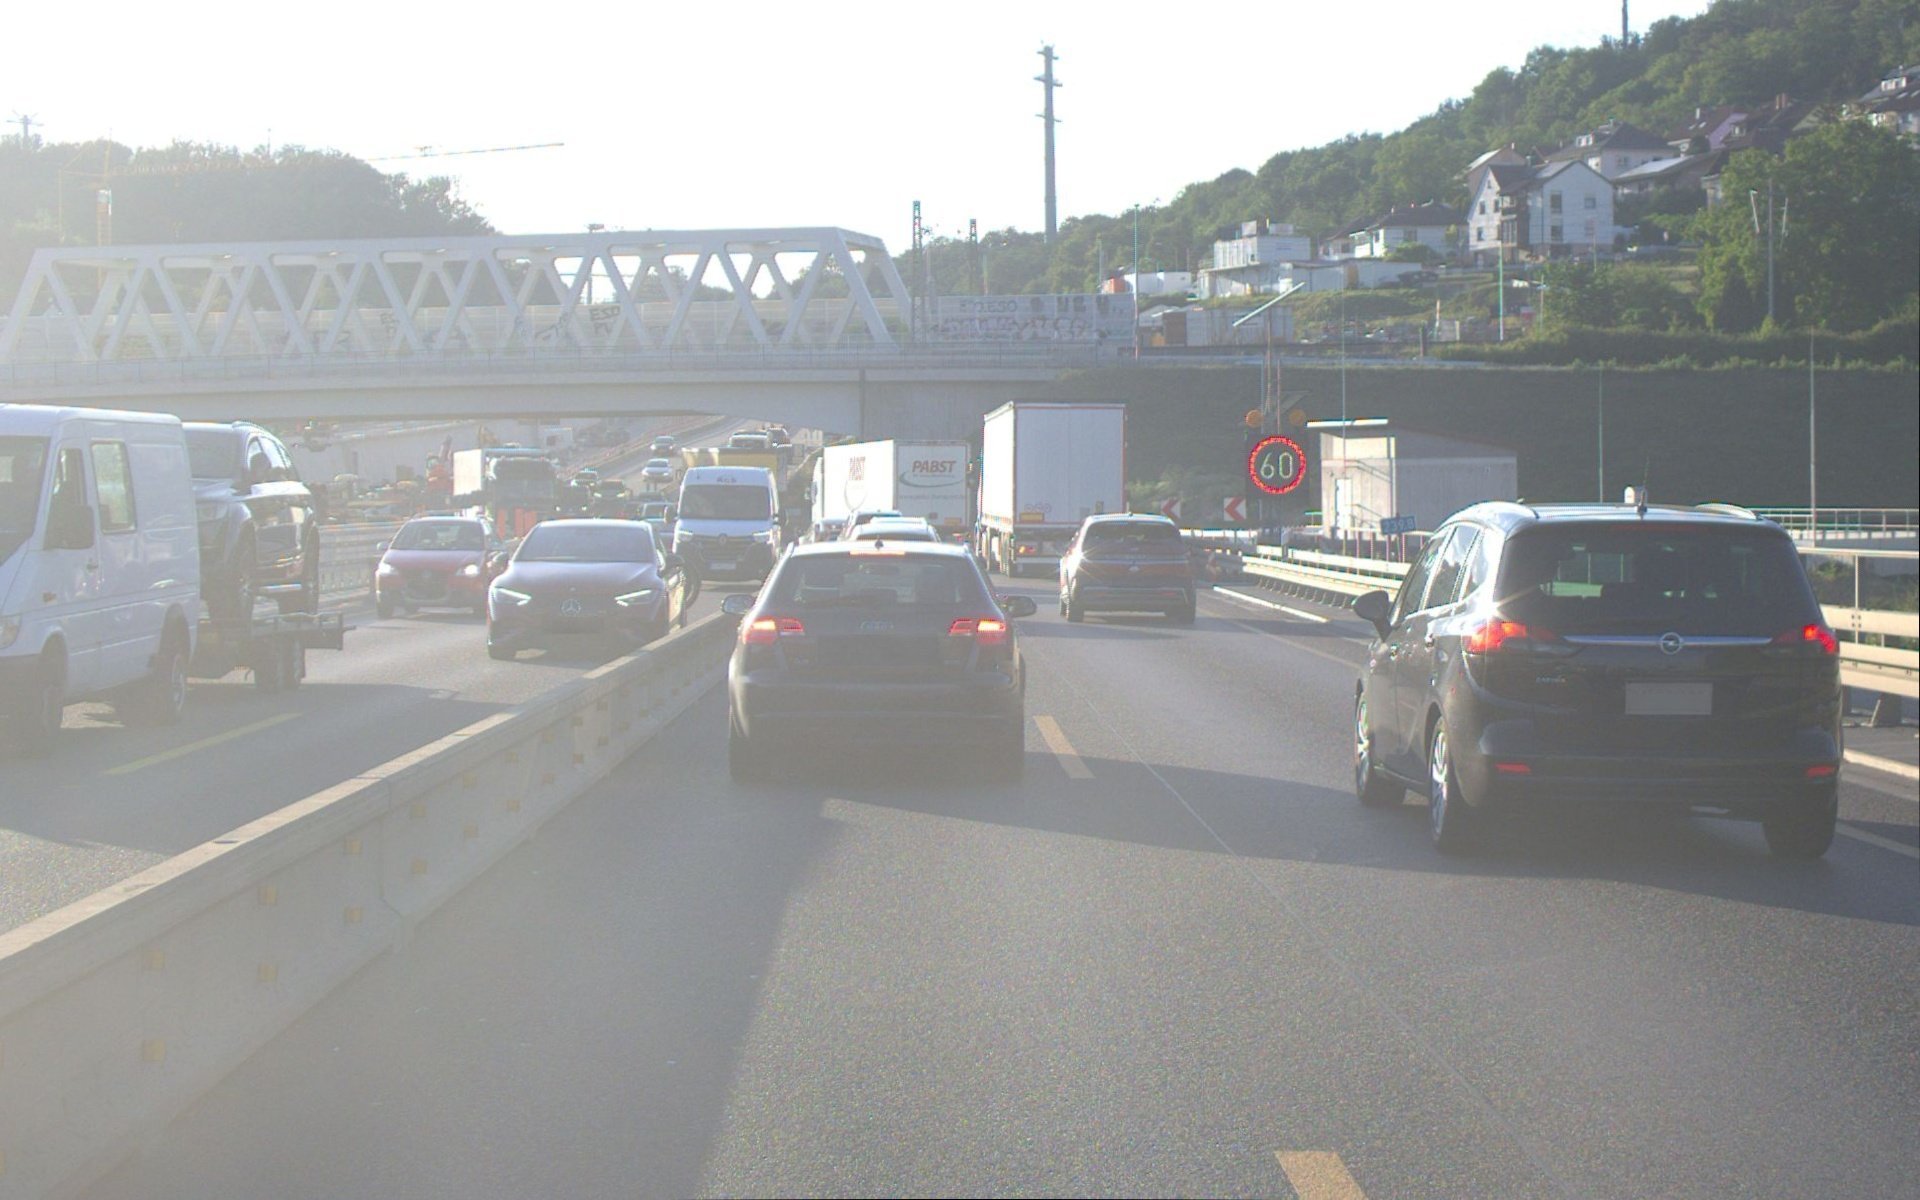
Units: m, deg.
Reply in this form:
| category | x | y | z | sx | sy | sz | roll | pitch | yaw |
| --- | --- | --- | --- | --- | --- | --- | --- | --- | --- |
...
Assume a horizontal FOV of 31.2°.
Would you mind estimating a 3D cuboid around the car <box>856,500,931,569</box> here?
| category | x | y | z | sx | sy | sz | roll | pitch | yaw |
| --- | --- | --- | --- | --- | --- | --- | --- | --- | --- |
| car | -1.745 | -1.721 | 89.205 | 1.698 | 1.726 | 4.001 | 1 | 2 | -4 |

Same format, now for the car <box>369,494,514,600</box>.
| category | x | y | z | sx | sy | sz | roll | pitch | yaw |
| --- | --- | --- | --- | --- | --- | --- | --- | --- | --- |
| car | -7.812 | -0.825 | 52.103 | 1.616 | 1.546 | 4.088 | 0 | 1 | -1 |

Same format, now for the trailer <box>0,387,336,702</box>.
| category | x | y | z | sx | sy | sz | roll | pitch | yaw |
| --- | --- | --- | --- | --- | --- | --- | --- | --- | --- |
| trailer | -6.769 | -0.505 | 29.203 | 2.076 | 2.412 | 5.219 | 1 | 2 | -1 |

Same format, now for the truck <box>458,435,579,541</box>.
| category | x | y | z | sx | sy | sz | roll | pitch | yaw |
| --- | --- | --- | --- | --- | --- | --- | --- | --- | --- |
| truck | -17.032 | -4.299 | 131.944 | 2.930 | 3.877 | 10.267 | 0 | 2 | -17 |

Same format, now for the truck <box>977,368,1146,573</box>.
| category | x | y | z | sx | sy | sz | roll | pitch | yaw |
| --- | --- | --- | --- | --- | --- | --- | --- | --- | --- |
| truck | 2.298 | -3.067 | 83.997 | 3.385 | 4.483 | 15.268 | 1 | 1 | -1 |

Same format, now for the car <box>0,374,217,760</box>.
| category | x | y | z | sx | sy | sz | roll | pitch | yaw |
| --- | --- | --- | --- | --- | --- | --- | --- | --- | --- |
| car | -6.700 | -0.289 | 23.605 | 1.993 | 2.315 | 5.935 | 1 | 2 | -1 |

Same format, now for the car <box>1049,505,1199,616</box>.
| category | x | y | z | sx | sy | sz | roll | pitch | yaw |
| --- | --- | --- | --- | --- | --- | --- | --- | --- | --- |
| car | 2.426 | -0.624 | 51.773 | 1.769 | 1.547 | 4.001 | 2 | 2 | -4 |

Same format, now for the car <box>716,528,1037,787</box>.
| category | x | y | z | sx | sy | sz | roll | pitch | yaw |
| --- | --- | --- | --- | --- | --- | --- | --- | --- | --- |
| car | -0.527 | 0.281 | 21.205 | 1.770 | 1.385 | 4.001 | 1 | 2 | -2 |

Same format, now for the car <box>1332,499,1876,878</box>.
| category | x | y | z | sx | sy | sz | roll | pitch | yaw |
| --- | --- | --- | --- | --- | --- | --- | --- | --- | --- |
| car | 3.041 | 0.322 | 17.178 | 1.814 | 1.626 | 4.412 | 1 | 2 | -1 |

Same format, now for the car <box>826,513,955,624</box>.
| category | x | y | z | sx | sy | sz | roll | pitch | yaw |
| --- | --- | --- | --- | --- | --- | --- | --- | --- | --- |
| car | -1.054 | -0.492 | 50.213 | 1.765 | 1.481 | 4.001 | 2 | 2 | -2 |

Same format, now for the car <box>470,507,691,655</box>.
| category | x | y | z | sx | sy | sz | roll | pitch | yaw |
| --- | --- | --- | --- | --- | --- | --- | --- | --- | --- |
| car | -4.180 | -0.274 | 38.698 | 1.993 | 1.525 | 5.782 | 1 | 2 | -2 |

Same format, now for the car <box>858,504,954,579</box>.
| category | x | y | z | sx | sy | sz | roll | pitch | yaw |
| --- | --- | --- | --- | --- | --- | --- | --- | --- | --- |
| car | -1.113 | -1.250 | 72.103 | 1.765 | 1.481 | 4.000 | 2 | 2 | 2 |

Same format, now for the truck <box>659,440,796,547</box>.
| category | x | y | z | sx | sy | sz | roll | pitch | yaw |
| --- | --- | --- | --- | --- | --- | --- | --- | --- | --- |
| truck | -10.555 | -4.868 | 154.076 | 3.889 | 4.482 | 13.854 | 1 | 3 | -13 |

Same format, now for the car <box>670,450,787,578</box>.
| category | x | y | z | sx | sy | sz | roll | pitch | yaw |
| --- | --- | --- | --- | --- | --- | --- | --- | --- | --- |
| car | -4.681 | -1.774 | 70.312 | 2.073 | 2.449 | 6.267 | 1 | 2 | -1 |

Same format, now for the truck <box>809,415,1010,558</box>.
| category | x | y | z | sx | sy | sz | roll | pitch | yaw |
| --- | --- | --- | --- | --- | --- | --- | --- | --- | --- |
| truck | -1.922 | -3.848 | 117.499 | 3.889 | 4.483 | 15.272 | 1 | 1 | -12 |
